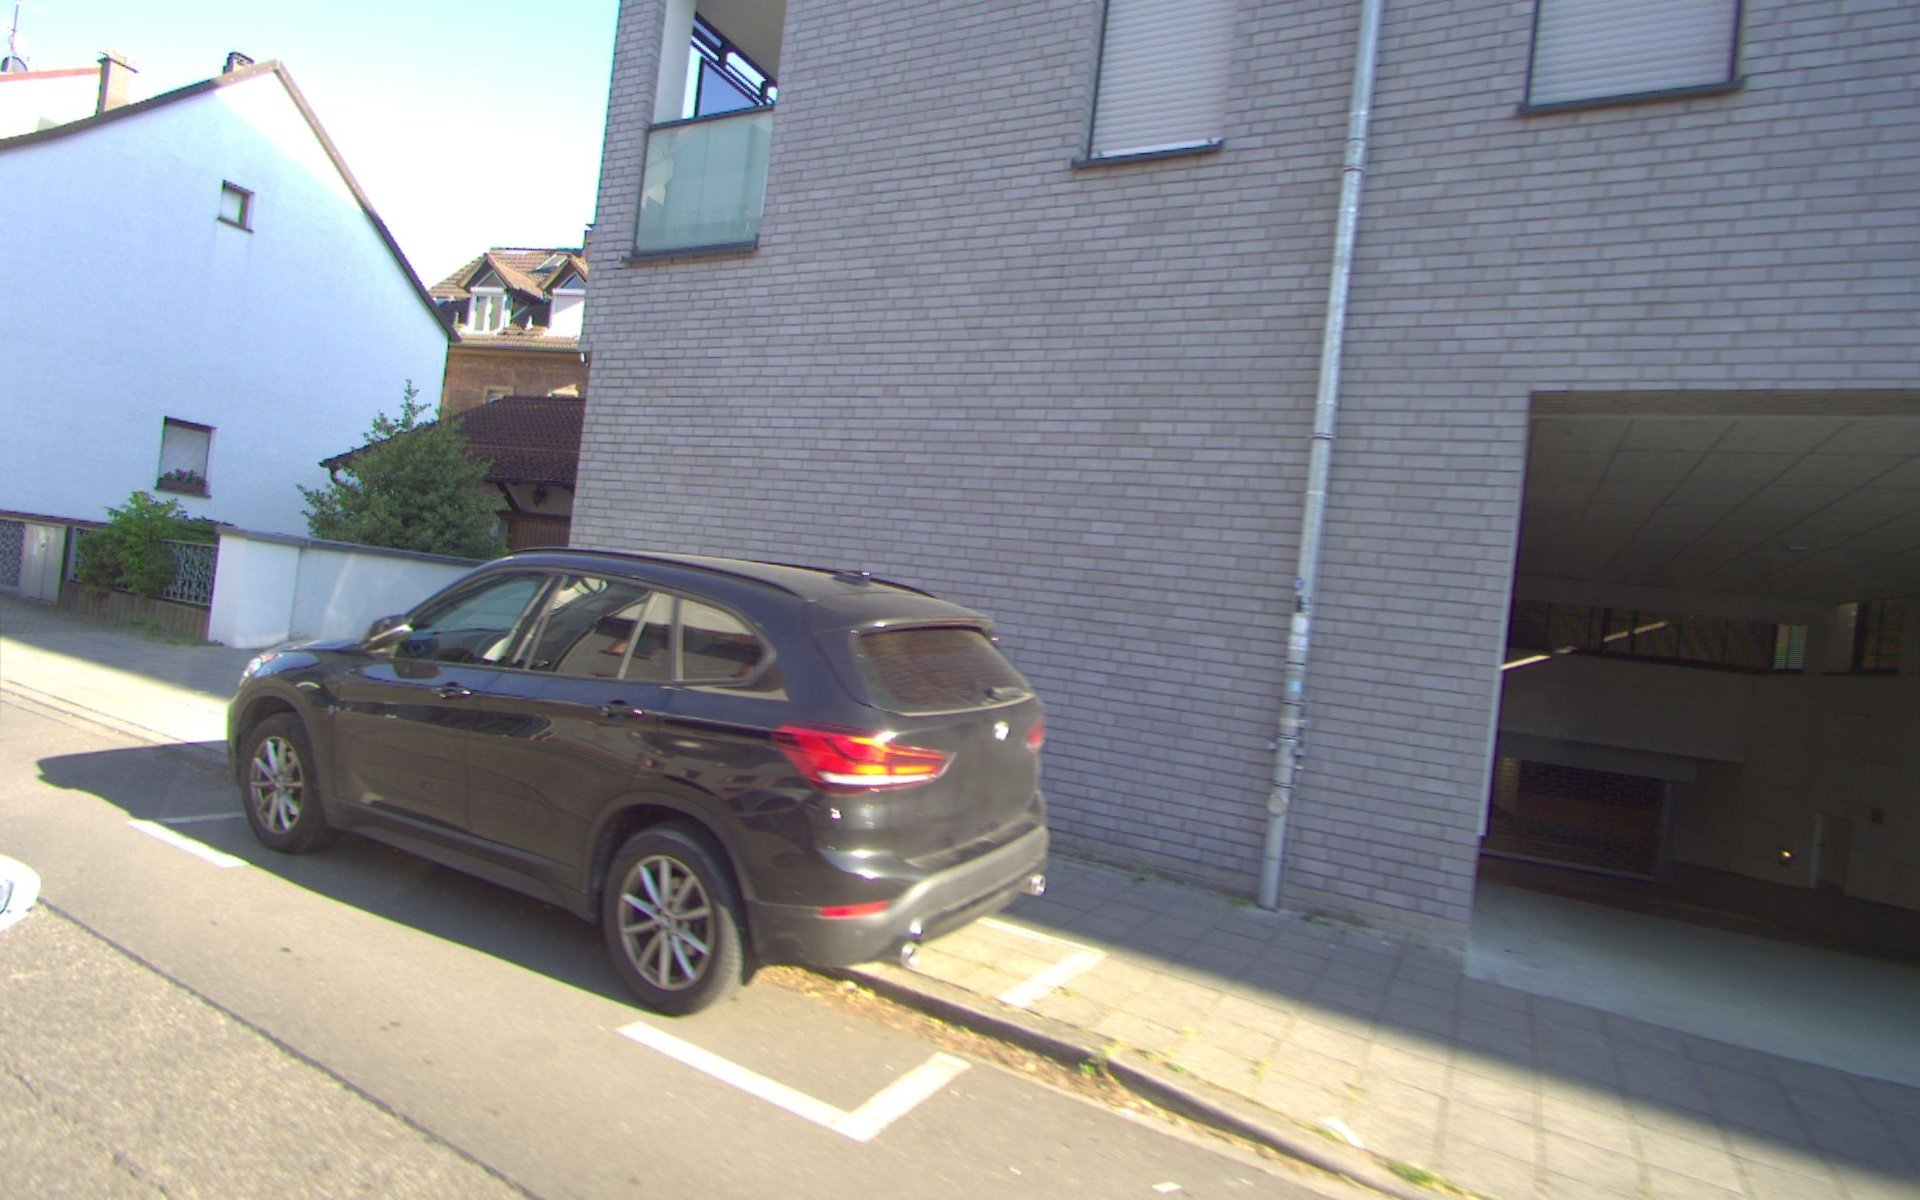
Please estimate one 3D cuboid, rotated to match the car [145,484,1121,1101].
[{"bbox_3d":[-1.757,0.498,4.926,4.544,1.657,1.857,7,1,29],"label":"car"}]
